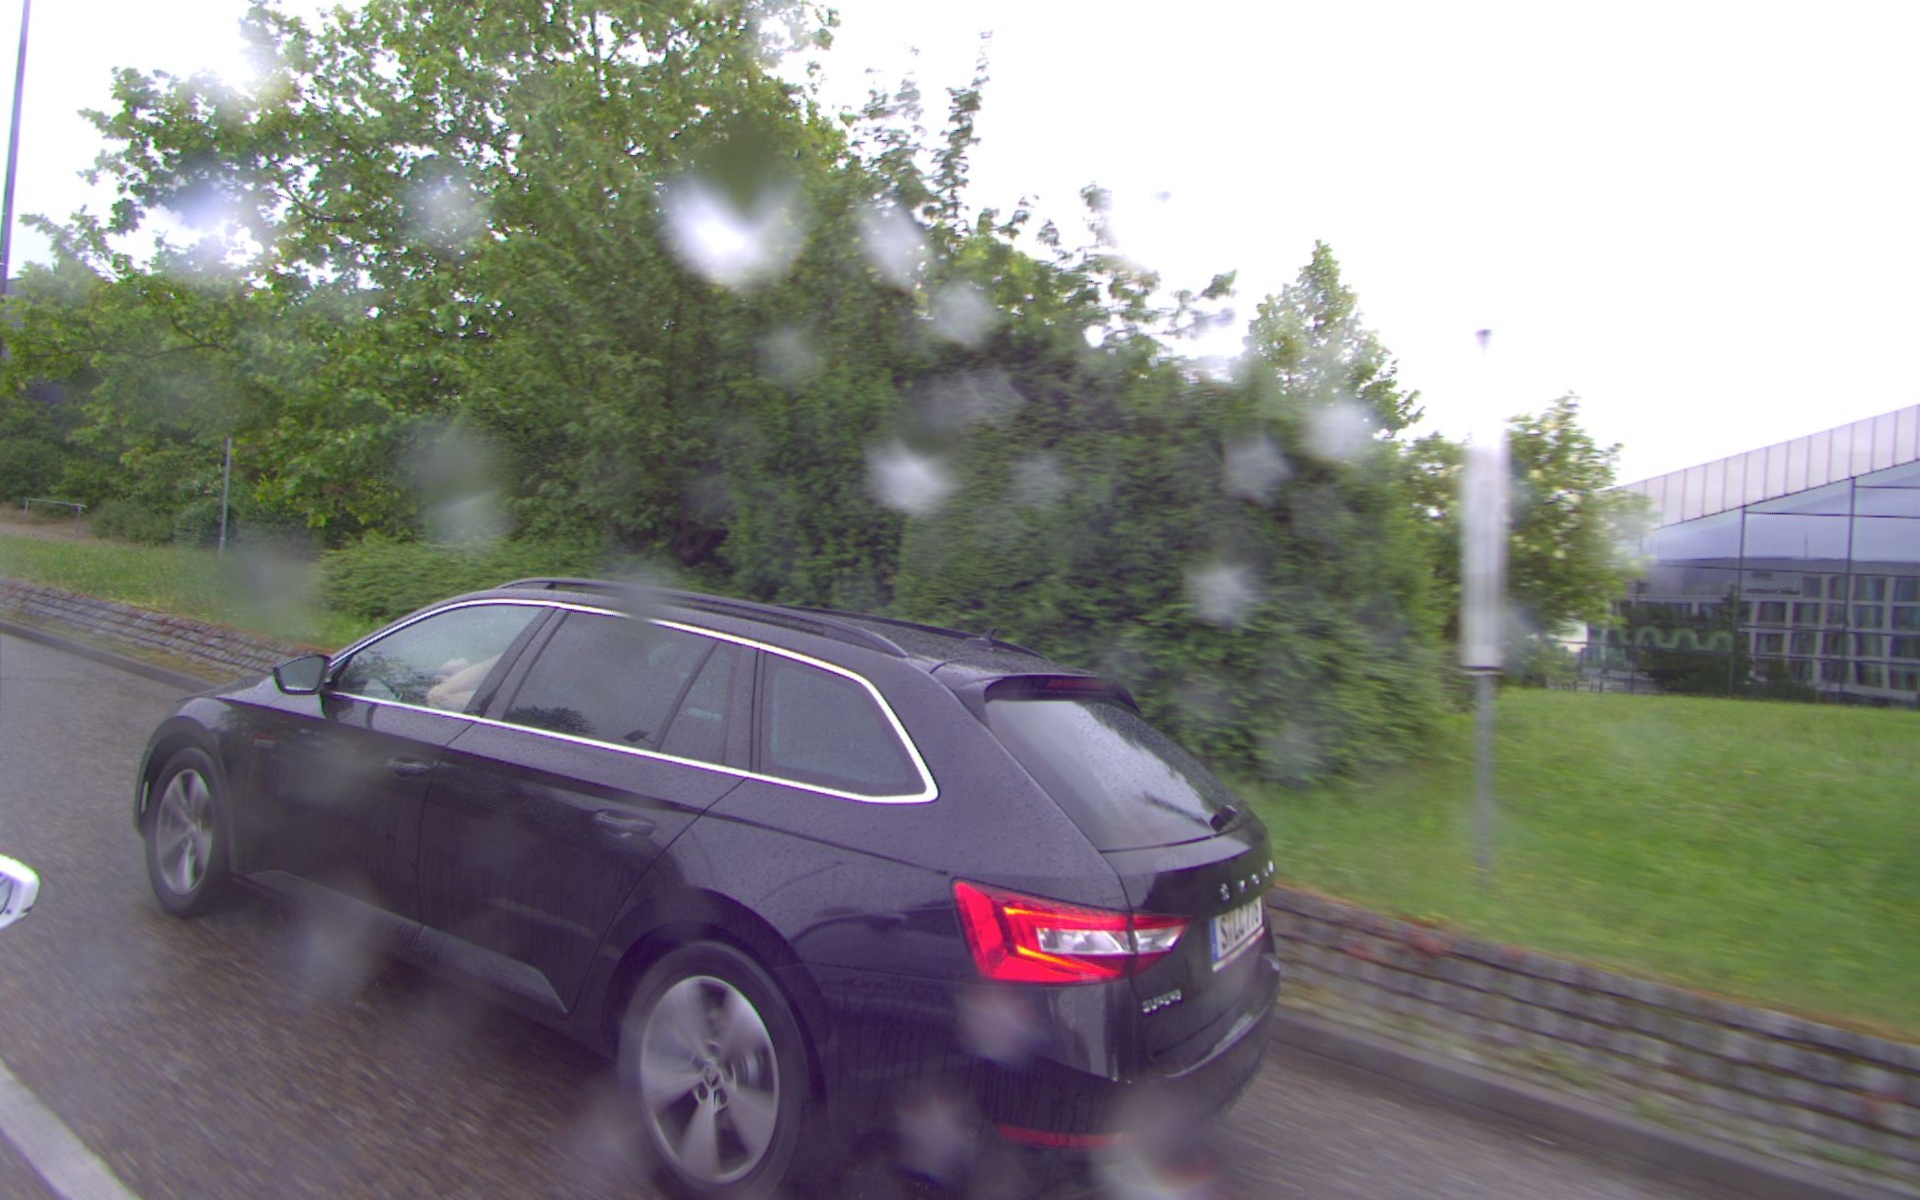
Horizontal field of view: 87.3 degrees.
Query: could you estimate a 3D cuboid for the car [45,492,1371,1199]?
[{"bbox_3d":[-1.112,0.623,3.706,4.531,1.524,1.959,6,-3,30],"label":"car"}]
